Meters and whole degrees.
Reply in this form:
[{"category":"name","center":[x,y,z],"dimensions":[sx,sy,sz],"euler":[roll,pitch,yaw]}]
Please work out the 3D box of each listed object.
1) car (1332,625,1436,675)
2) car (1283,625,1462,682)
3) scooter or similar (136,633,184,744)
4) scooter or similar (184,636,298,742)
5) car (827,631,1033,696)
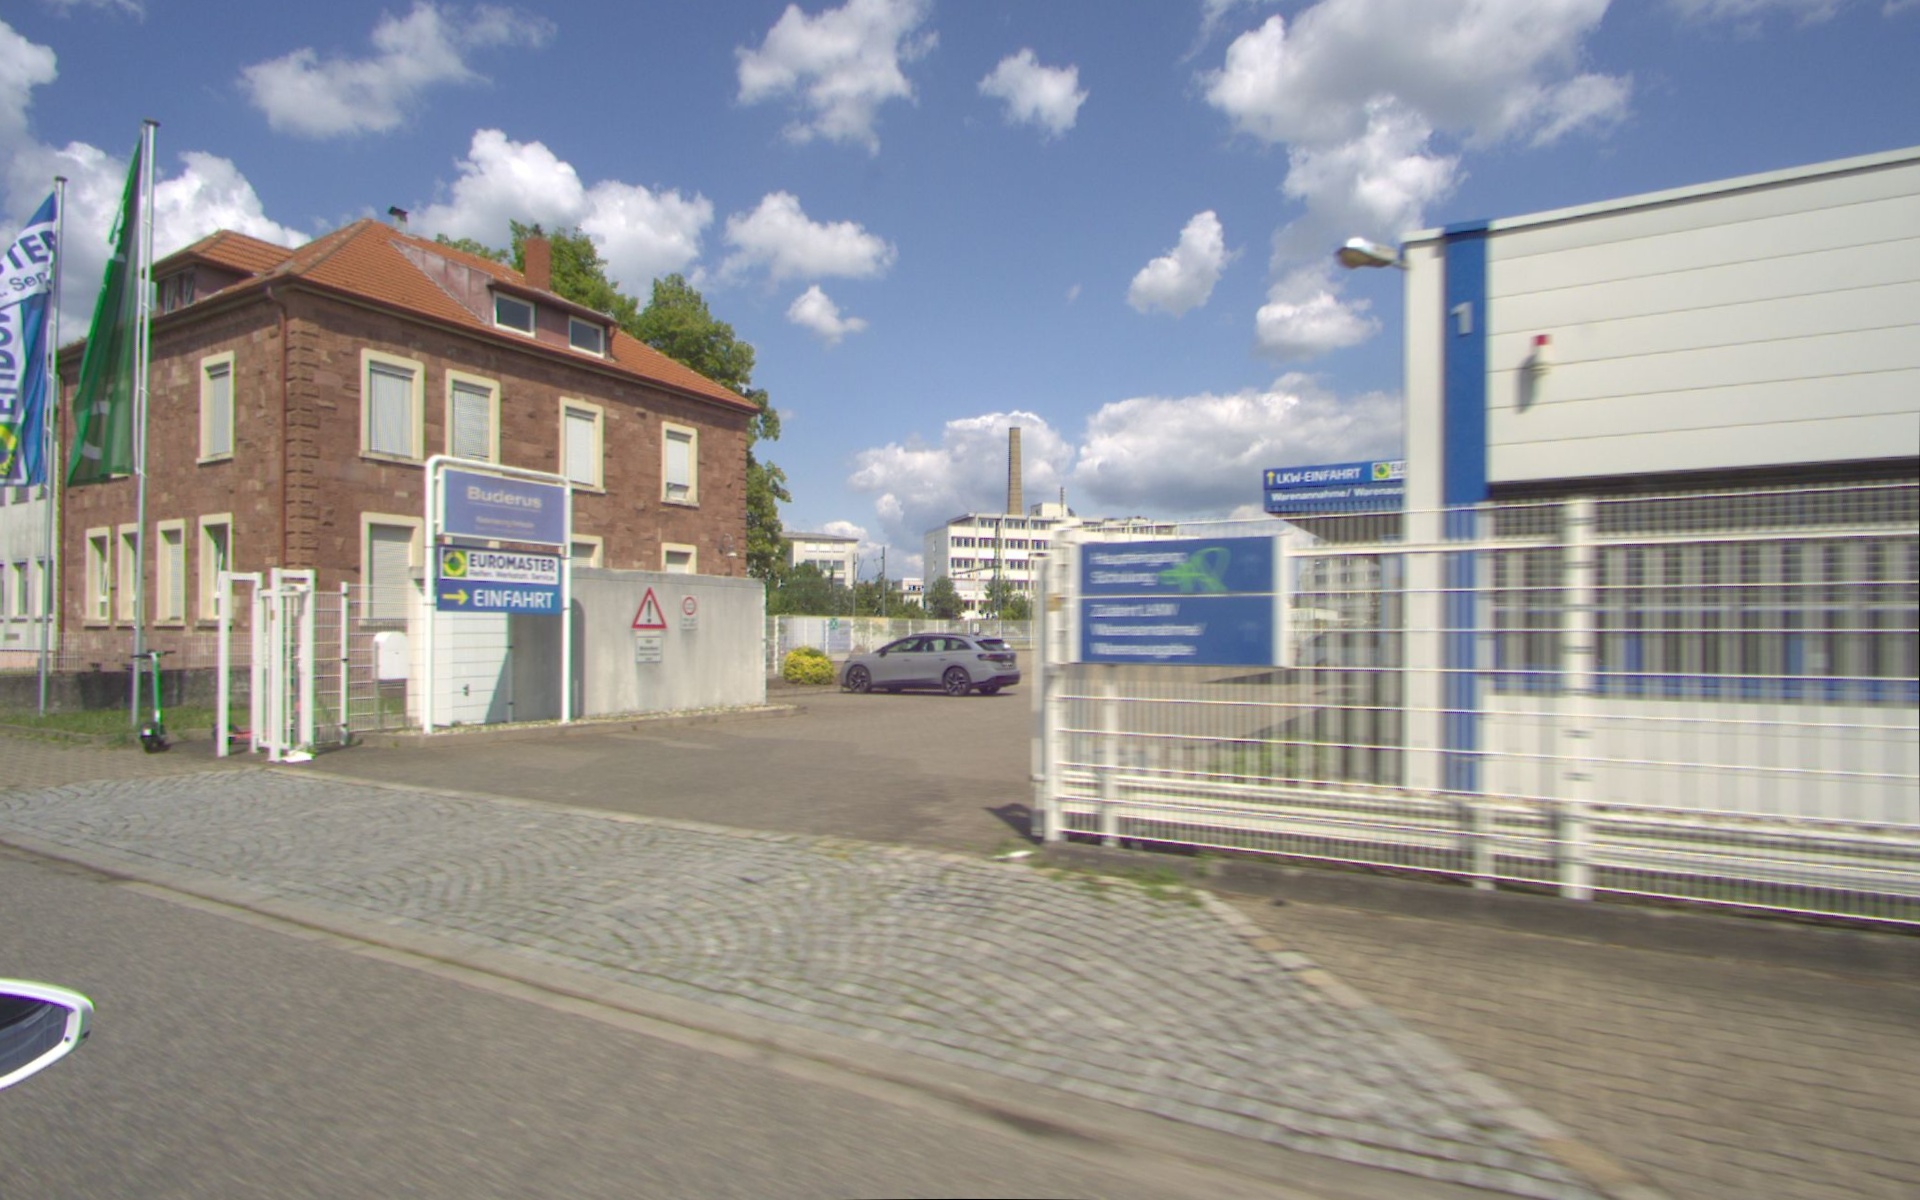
[{"category":"car","center":[18.144,2.107,42.895],"dimensions":[3.902,2.039,1.664],"euler":[0,-1,31]},{"category":"car","center":[12.192,1.584,29.707],"dimensions":[4.719,1.566,1.664],"euler":[-2,-2,31]},{"category":"scooter or similar","center":[-9.813,1.073,12.286],"dimensions":[0.360,1.329,0.332],"euler":[0,-1,30]},{"category":"scooter or similar","center":[-8.980,1.089,12.535],"dimensions":[1.138,1.262,0.257],"euler":[1,-1,-42]},{"category":"car","center":[-0.810,1.570,25.794],"dimensions":[5.019,1.496,1.991],"euler":[0,-2,30]}]
